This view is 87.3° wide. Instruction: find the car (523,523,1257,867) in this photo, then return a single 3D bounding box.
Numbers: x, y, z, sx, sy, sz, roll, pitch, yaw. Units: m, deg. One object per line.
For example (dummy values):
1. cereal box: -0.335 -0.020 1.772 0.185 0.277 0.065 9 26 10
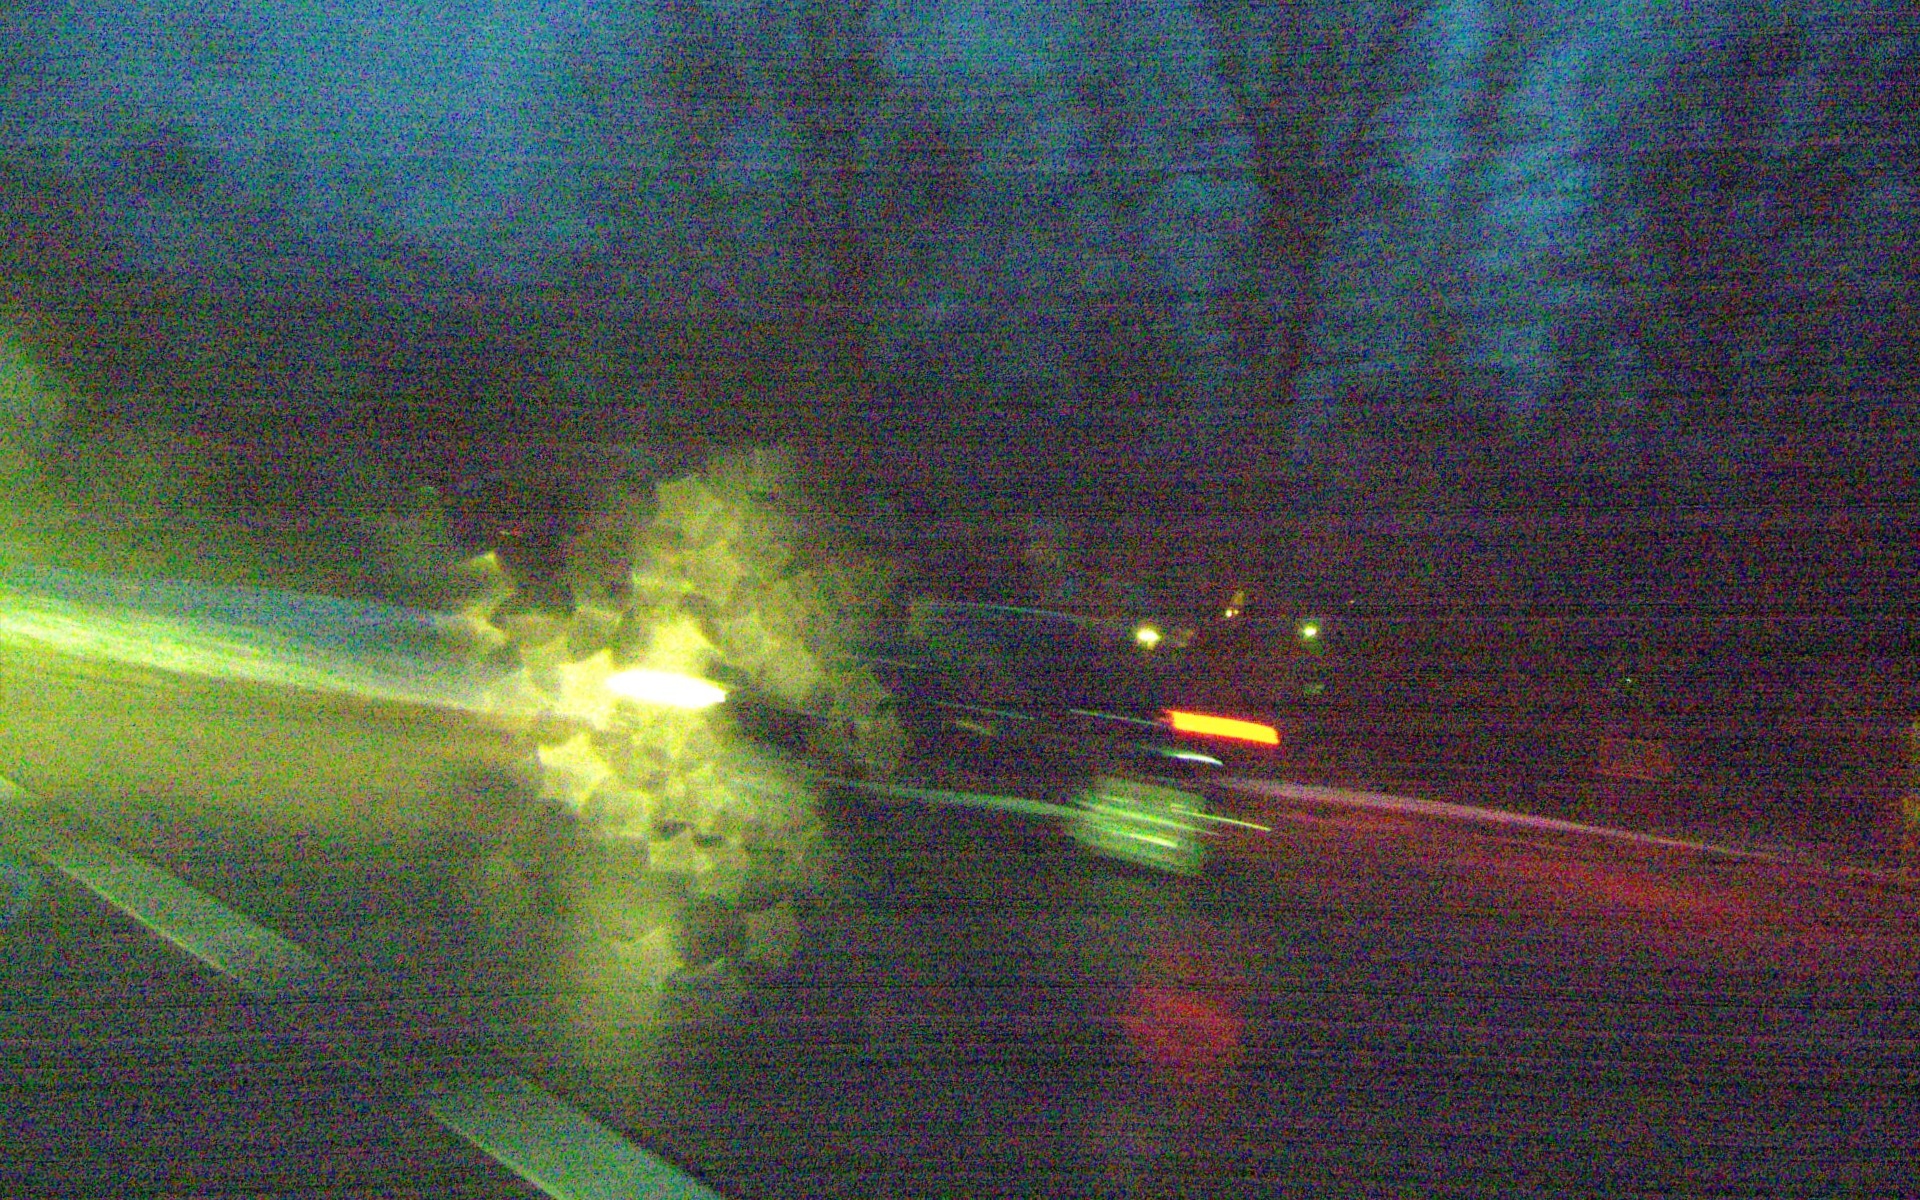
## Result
1. car: -0.471 0.729 7.517 4.702 1.710 1.956 8 -2 -15
